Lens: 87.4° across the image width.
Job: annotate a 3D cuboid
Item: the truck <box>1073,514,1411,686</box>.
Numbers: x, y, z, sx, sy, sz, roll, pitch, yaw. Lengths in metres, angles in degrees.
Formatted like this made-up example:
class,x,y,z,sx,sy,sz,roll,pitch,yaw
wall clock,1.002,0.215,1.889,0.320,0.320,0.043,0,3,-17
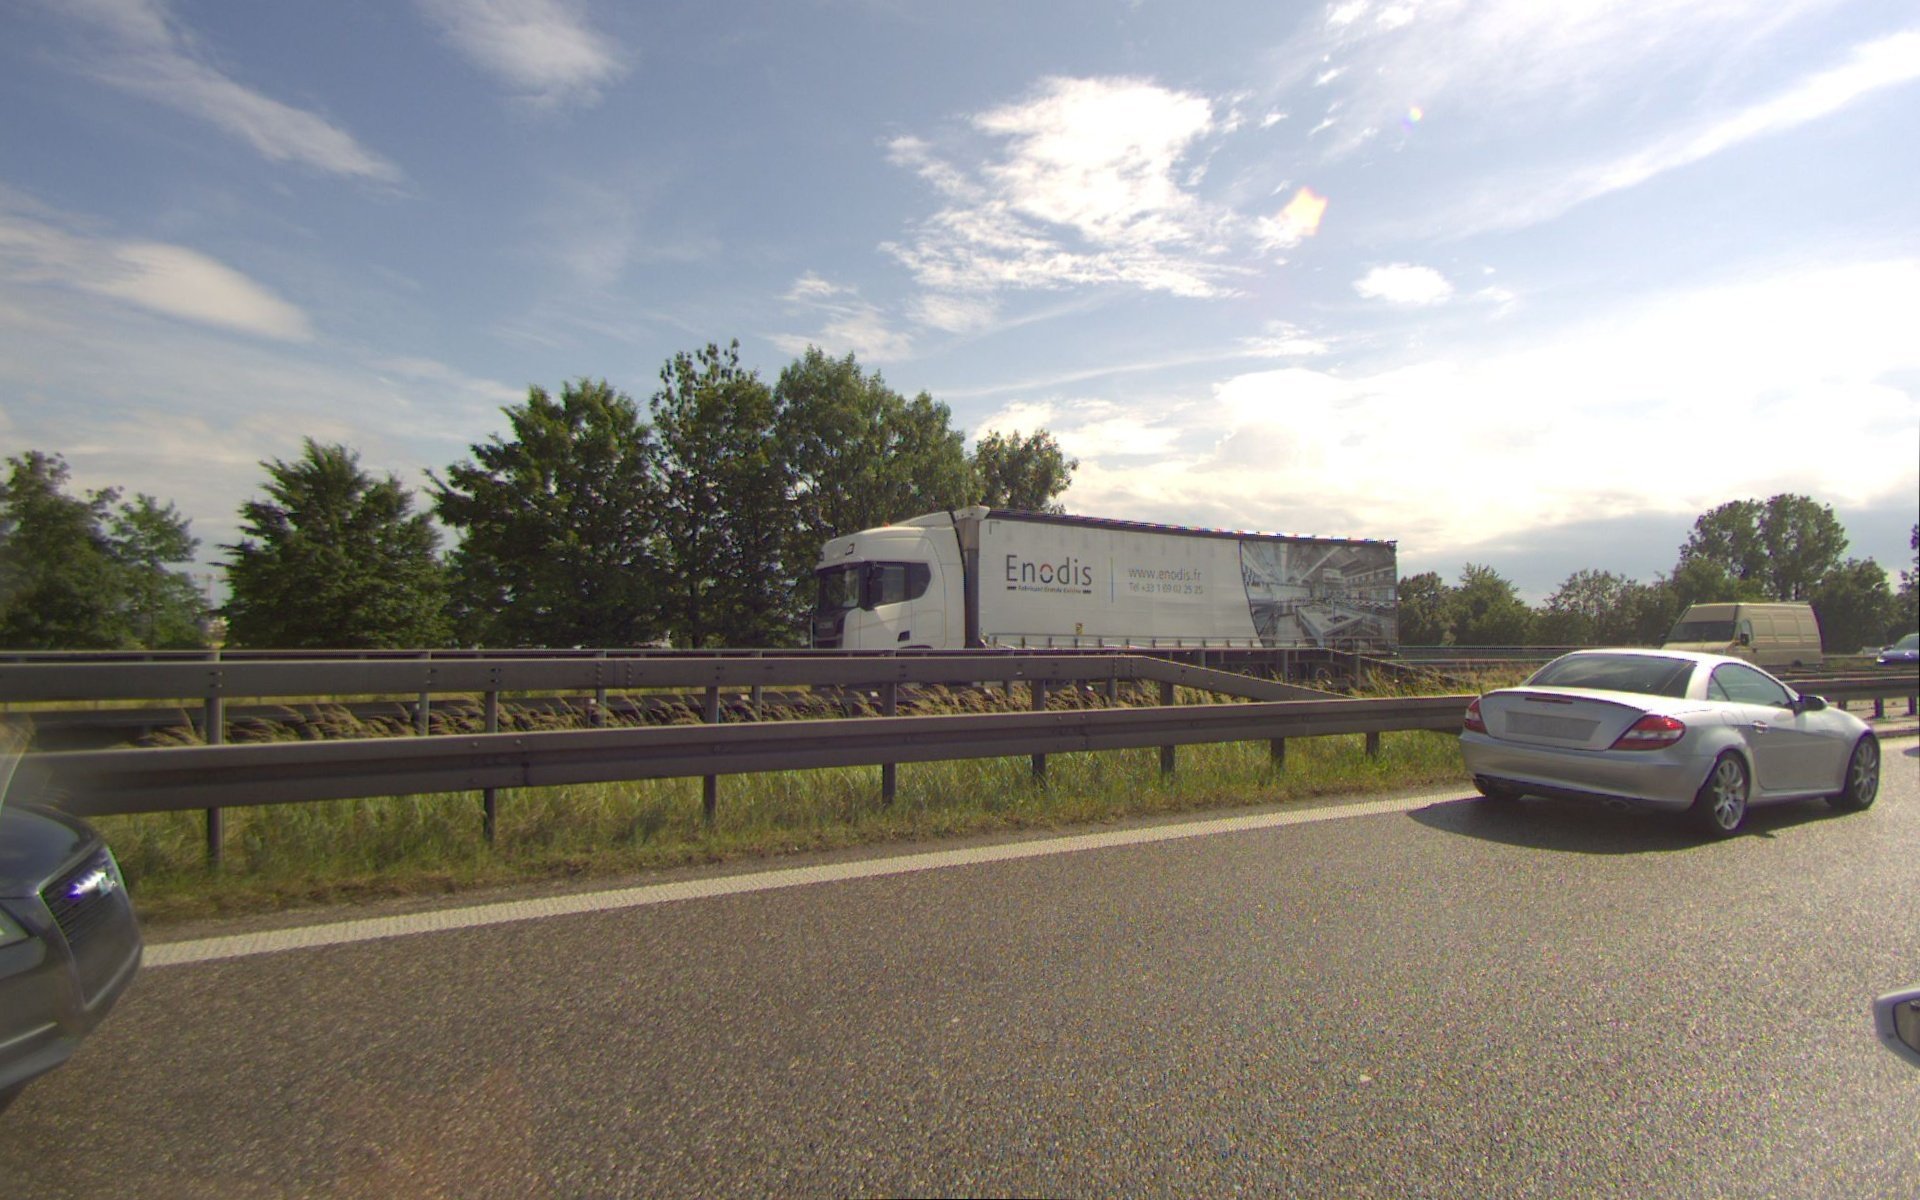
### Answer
class,x,y,z,sx,sy,sz,roll,pitch,yaw
truck,7.609,0.187,26.416,9.312,3.903,2.835,3,-1,-30

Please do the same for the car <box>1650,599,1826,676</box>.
class,x,y,z,sx,sy,sz,roll,pitch,yaw
car,24.762,1.130,31.867,6.897,2.238,1.984,1,0,-30

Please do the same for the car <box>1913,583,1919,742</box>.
class,x,y,z,sx,sy,sz,roll,pitch,yaw
car,15.045,0.851,13.398,5.206,2.040,1.984,1,-1,-30

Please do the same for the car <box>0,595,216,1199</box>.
class,x,y,z,sx,sy,sz,roll,pitch,yaw
car,-4.273,0.676,2.117,4.088,1.444,1.759,2,0,-29

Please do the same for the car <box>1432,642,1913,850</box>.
class,x,y,z,sx,sy,sz,roll,pitch,yaw
car,5.934,1.021,8.278,4.015,1.295,1.716,1,-1,-30

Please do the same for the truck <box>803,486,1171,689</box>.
class,x,y,z,sx,sy,sz,roll,pitch,yaw
truck,0.739,-0.086,22.384,7.786,3.871,2.848,3,-1,-30

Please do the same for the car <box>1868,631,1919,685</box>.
class,x,y,z,sx,sy,sz,roll,pitch,yaw
car,29.065,1.739,29.797,4.049,1.479,1.984,2,1,-30
